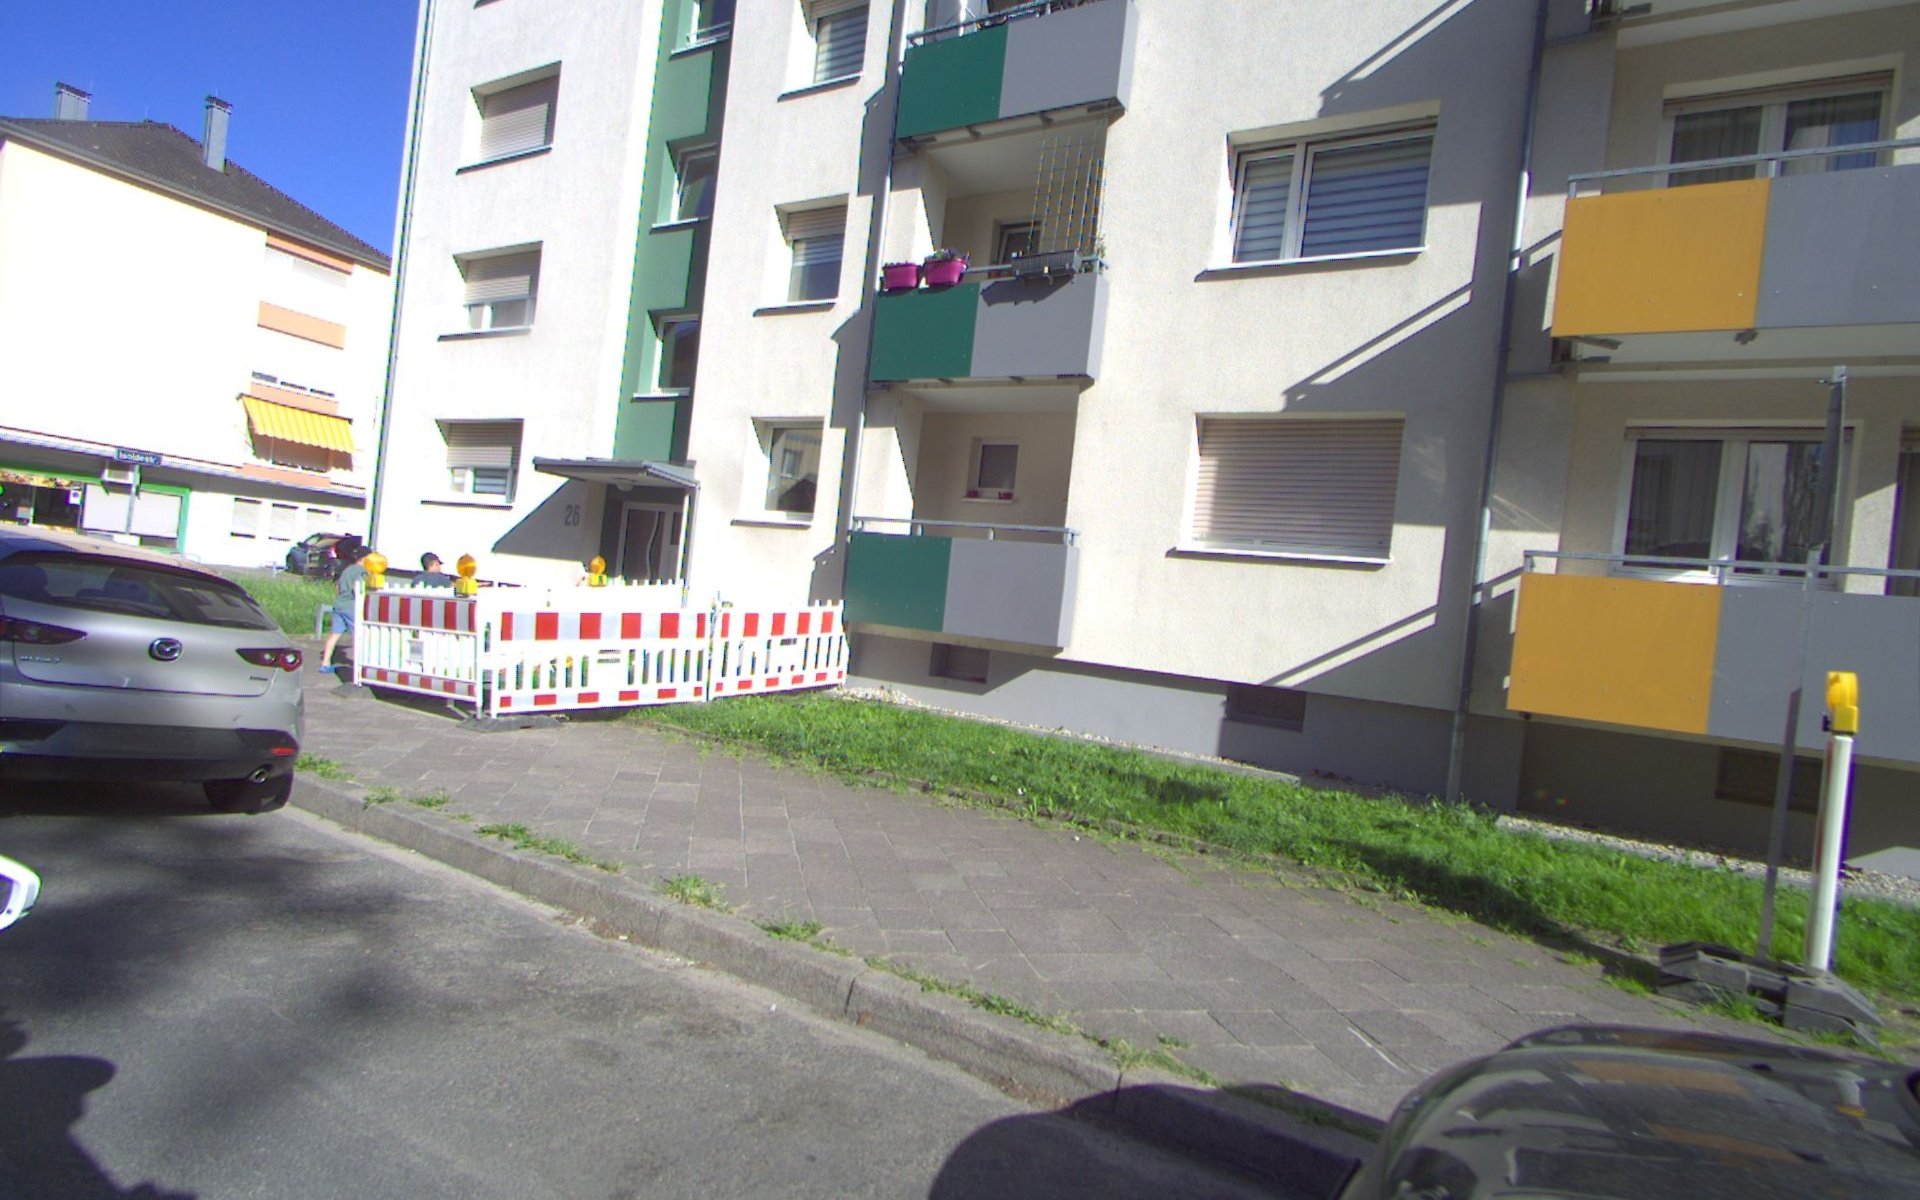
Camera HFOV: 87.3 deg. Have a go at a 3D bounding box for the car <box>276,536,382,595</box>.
[{"bbox_3d":[-22.117,-1.220,35.224,3.417,1.630,1.583,5,-4,30],"label":"car"}]

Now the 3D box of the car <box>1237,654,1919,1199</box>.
[{"bbox_3d":[2.264,1.072,1.063,3.524,1.480,1.695,4,-8,32],"label":"car"}]

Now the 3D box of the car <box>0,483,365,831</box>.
[{"bbox_3d":[-5.690,0.220,5.943,4.268,1.484,1.800,4,-8,32],"label":"car"}]

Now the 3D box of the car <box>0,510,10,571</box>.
[{"bbox_3d":[-10.298,-0.252,8.886,3.875,1.475,1.650,4,-5,31],"label":"car"}]

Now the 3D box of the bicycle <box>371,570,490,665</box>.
[{"bbox_3d":[-7.416,0.228,14.061,1.867,1.134,0.560,5,2,32],"label":"bicycle"}]

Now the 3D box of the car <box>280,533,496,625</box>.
[{"bbox_3d":[-14.318,-0.489,25.406,1.797,1.630,4.247,5,-4,37],"label":"car"}]

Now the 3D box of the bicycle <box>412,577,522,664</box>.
[{"bbox_3d":[-7.117,0.278,14.480,1.867,1.075,0.445,5,2,32],"label":"bicycle"}]

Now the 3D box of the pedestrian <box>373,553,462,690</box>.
[{"bbox_3d":[-6.064,0.243,11.264,0.566,1.450,0.472,6,-1,18],"label":"pedestrian"}]

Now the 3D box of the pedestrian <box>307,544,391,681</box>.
[{"bbox_3d":[-6.791,0.144,11.192,0.498,1.450,0.451,6,-1,21],"label":"pedestrian"}]
